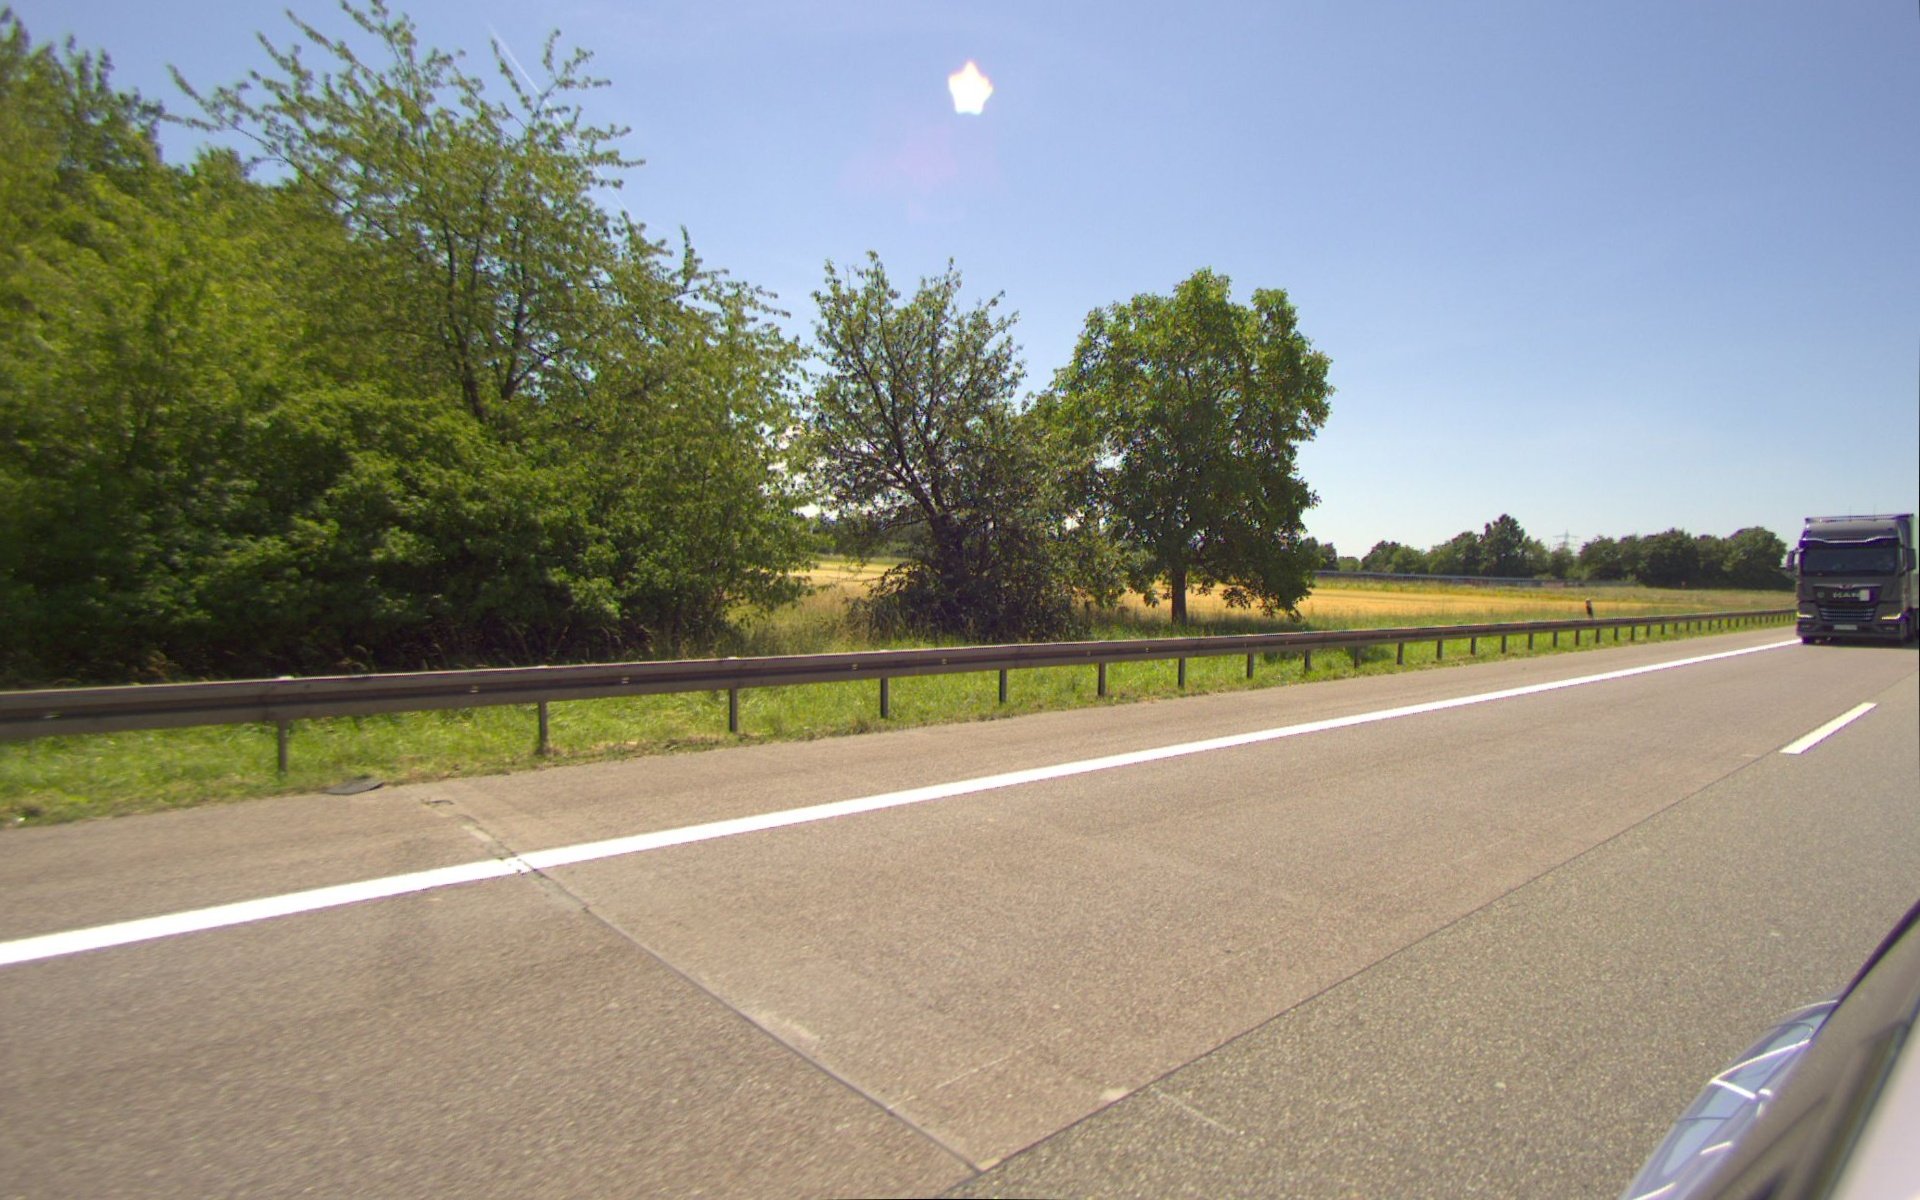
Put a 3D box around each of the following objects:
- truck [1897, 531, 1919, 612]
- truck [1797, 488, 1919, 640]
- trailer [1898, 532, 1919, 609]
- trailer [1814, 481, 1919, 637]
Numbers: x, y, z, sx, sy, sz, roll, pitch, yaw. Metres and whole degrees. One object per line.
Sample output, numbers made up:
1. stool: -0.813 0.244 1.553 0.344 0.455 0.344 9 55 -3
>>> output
1. truck: 52.939 -1.589 55.215 2.601 4.309 5.009 0 2 44
2. truck: 28.219 -1.045 31.254 4.888 4.309 2.913 0 1 -41
3. trailer: 58.205 -1.843 60.684 2.596 4.304 13.426 0 2 44
4. trailer: 33.501 -1.317 35.931 13.744 4.716 2.905 -1 1 -42
